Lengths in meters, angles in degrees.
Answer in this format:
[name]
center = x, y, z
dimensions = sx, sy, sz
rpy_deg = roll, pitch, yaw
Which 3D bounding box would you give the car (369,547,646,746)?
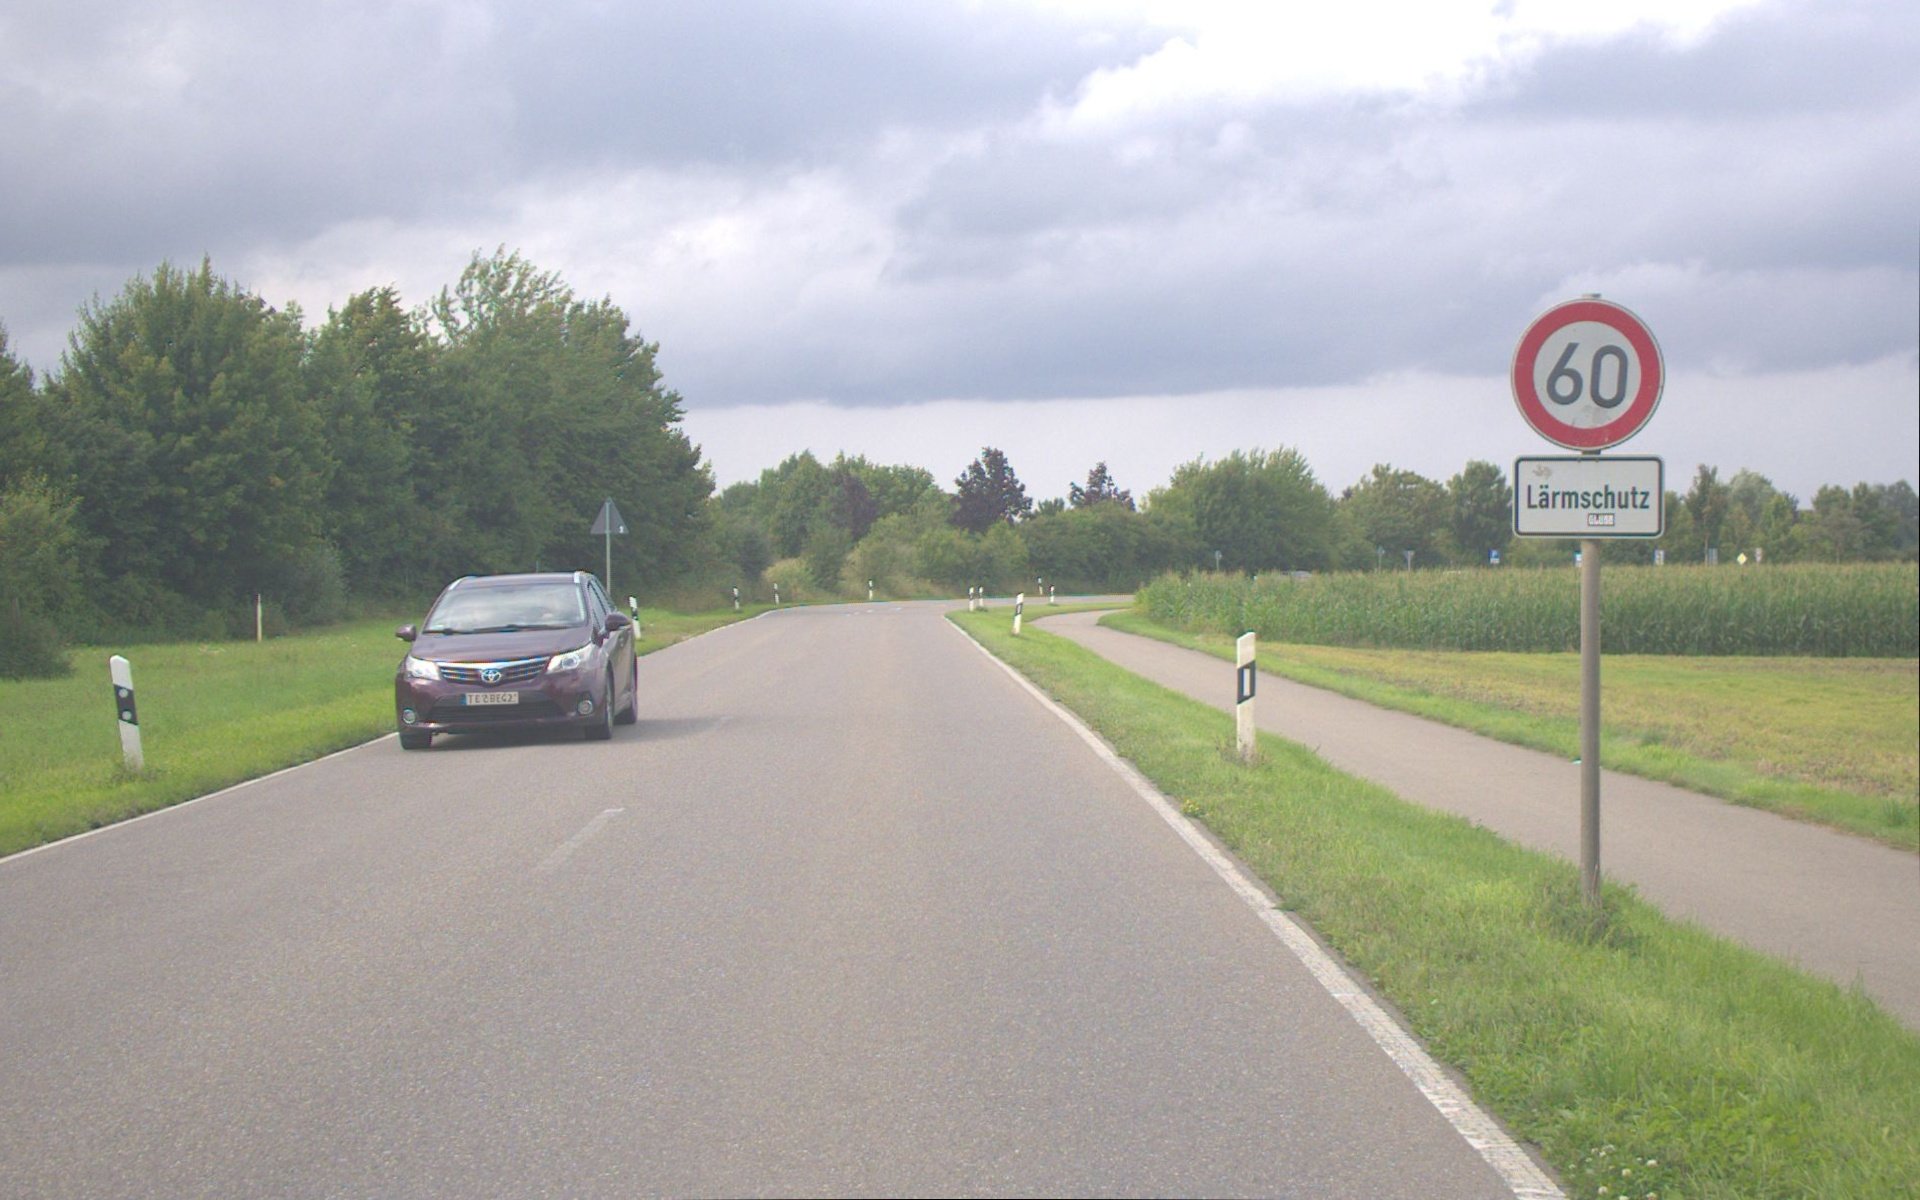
[car]
center = -3.884, 0.353, 30.145
dimensions = 1.864, 1.546, 4.182
rpy_deg = -2, 1, -1
